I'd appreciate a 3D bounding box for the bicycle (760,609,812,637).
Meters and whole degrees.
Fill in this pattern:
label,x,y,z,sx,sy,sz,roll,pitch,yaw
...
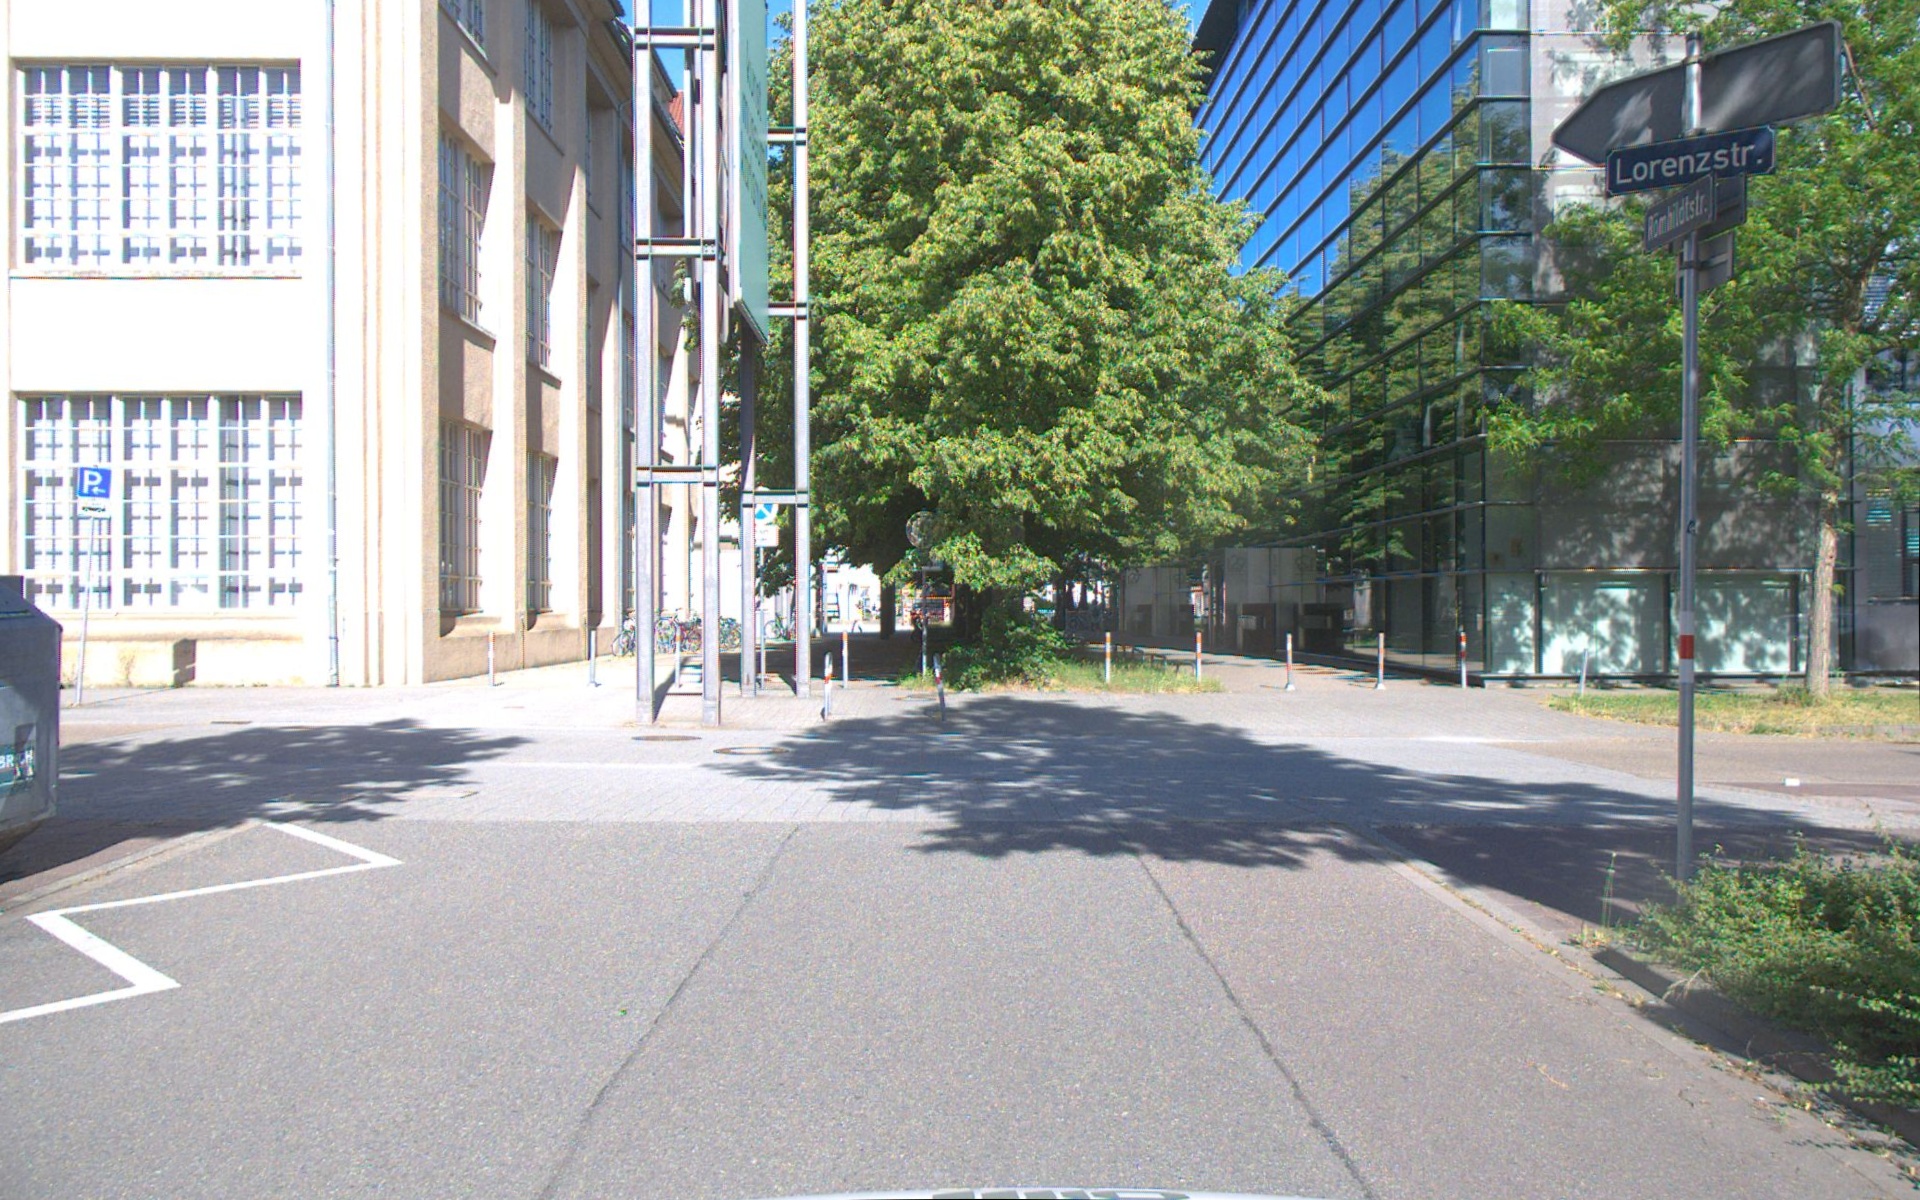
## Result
label,x,y,z,sx,sy,sz,roll,pitch,yaw
bicycle,-6.990,0.915,66.515,2.015,1.085,0.507,0,0,1

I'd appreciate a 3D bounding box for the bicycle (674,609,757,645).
label,x,y,z,sx,sy,sz,roll,pitch,yaw
bicycle,-8.122,0.907,55.066,2.678,1.171,0.718,0,0,-5

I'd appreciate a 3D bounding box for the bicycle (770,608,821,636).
label,x,y,z,sx,sy,sz,roll,pitch,yaw
bicycle,-6.664,0.889,67.146,2.015,1.085,0.507,0,0,1

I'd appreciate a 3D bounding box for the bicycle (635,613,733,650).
label,x,y,z,sx,sy,sz,roll,pitch,yaw
bicycle,-8.050,0.917,48.370,2.743,1.081,0.718,0,0,-1

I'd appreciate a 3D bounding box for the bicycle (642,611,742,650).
label,x,y,z,sx,sy,sz,roll,pitch,yaw
bicycle,-7.582,0.853,46.810,2.746,1.081,0.718,0,0,-5

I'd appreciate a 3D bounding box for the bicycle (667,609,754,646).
label,x,y,z,sx,sy,sz,roll,pitch,yaw
bicycle,-8.072,0.879,53.696,2.746,1.171,0.718,0,0,-5

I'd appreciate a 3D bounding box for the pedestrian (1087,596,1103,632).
label,x,y,z,sx,sy,sz,roll,pitch,yaw
pedestrian,5.898,0.603,72.277,0.701,1.577,0.690,0,0,5

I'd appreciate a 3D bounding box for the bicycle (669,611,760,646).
label,x,y,z,sx,sy,sz,roll,pitch,yaw
bicycle,-7.598,0.880,51.313,2.746,1.081,0.718,0,0,-5

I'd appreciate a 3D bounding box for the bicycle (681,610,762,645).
label,x,y,z,sx,sy,sz,roll,pitch,yaw
bicycle,-8.049,0.918,55.857,2.678,1.171,0.718,0,0,-5

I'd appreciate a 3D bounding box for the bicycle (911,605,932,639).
label,x,y,z,sx,sy,sz,roll,pitch,yaw
bicycle,-1.425,0.809,60.669,0.607,1.218,2.129,0,0,-6

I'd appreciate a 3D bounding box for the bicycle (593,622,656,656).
label,x,y,z,sx,sy,sz,roll,pitch,yaw
bicycle,-8.825,1.009,43.589,0.761,0.806,2.886,0,0,7
